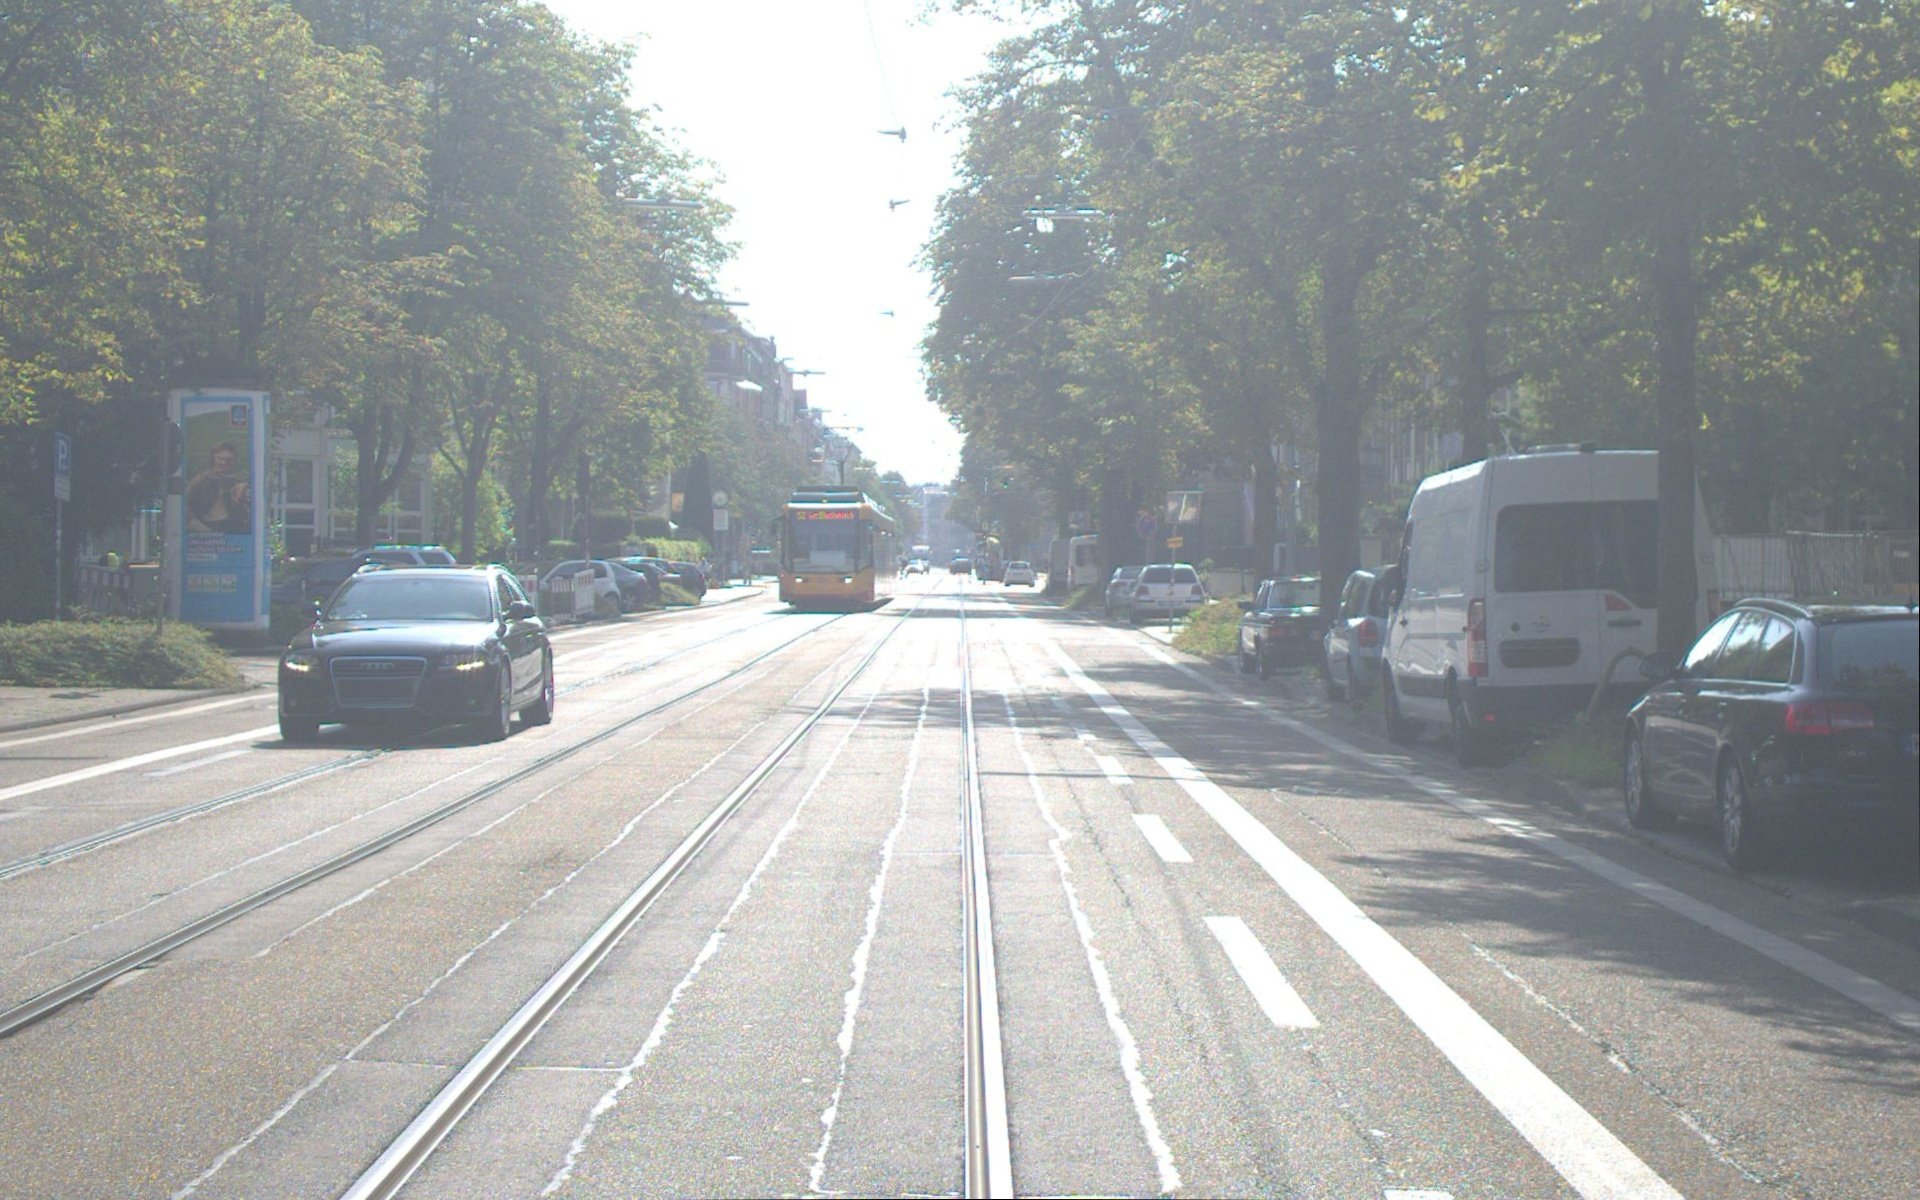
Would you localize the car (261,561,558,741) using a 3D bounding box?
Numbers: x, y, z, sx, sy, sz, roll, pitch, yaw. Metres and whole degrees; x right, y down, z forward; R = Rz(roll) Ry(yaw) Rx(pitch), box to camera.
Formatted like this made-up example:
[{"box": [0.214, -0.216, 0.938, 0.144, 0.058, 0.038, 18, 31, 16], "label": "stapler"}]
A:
[{"box": [-4.556, 0.375, 29.077, 1.828, 1.371, 4.513, 1, 1, -1], "label": "car"}]

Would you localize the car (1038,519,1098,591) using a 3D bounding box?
[{"box": [3.879, -1.599, 123.717, 2.004, 2.482, 4.477, 2, 1, 1], "label": "car"}]

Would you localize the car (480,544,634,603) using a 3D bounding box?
[{"box": [-10.022, -0.670, 85.679, 1.569, 1.438, 3.754, 1, 1, 40], "label": "car"}]

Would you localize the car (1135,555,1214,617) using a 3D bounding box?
[{"box": [5.086, -0.345, 81.973, 1.689, 1.413, 3.634, 1, 1, 1], "label": "car"}]

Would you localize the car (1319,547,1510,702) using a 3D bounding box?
[{"box": [5.086, 0.233, 38.833, 1.664, 1.611, 3.877, -1, 1, 1], "label": "car"}]

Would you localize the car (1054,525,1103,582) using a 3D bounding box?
[{"box": [5.184, -2.036, 150.837, 2.004, 2.466, 4.477, 1, 1, 1], "label": "car"}]

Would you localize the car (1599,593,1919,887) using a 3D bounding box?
[{"box": [4.792, 0.679, 19.163, 1.616, 1.369, 4.827, 0, 1, 1], "label": "car"}]

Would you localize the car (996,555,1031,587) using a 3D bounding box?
[{"box": [3.138, -1.702, 200.873, 1.993, 1.831, 4.000, 1, 1, 1], "label": "car"}]

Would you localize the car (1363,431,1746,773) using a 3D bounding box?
[{"box": [4.936, -0.025, 29.411, 2.082, 2.544, 5.502, -3, 1, -1], "label": "car"}]

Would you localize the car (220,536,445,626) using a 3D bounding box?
[{"box": [-11.644, -0.354, 63.934, 3.785, 1.616, 1.743, 0, 1, -44], "label": "car"}]

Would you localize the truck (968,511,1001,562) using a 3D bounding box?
[{"box": [1.496, -3.899, 212.517, 1.860, 3.120, 4.353, 0, 1, -2], "label": "truck"}]

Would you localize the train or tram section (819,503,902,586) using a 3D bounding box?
[{"box": [-3.529, -1.988, 124.078, 2.680, 2.852, 10.544, 0, 1, 0], "label": "train or tram section"}]

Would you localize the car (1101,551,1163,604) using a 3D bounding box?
[{"box": [4.771, -0.642, 95.617, 1.595, 1.413, 3.634, 1, 1, 1], "label": "car"}]

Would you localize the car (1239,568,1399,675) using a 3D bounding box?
[{"box": [5.001, 0.263, 48.434, 1.753, 1.373, 4.719, -1, 1, 0], "label": "car"}]

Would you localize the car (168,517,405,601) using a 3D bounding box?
[{"box": [-11.884, -0.719, 60.773, 3.785, 1.437, 1.693, 0, 1, -42], "label": "car"}]

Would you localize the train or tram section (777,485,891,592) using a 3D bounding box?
[{"box": [-3.560, -1.763, 100.814, 2.729, 2.884, 15.455, 0, 1, 0], "label": "train or tram section"}]
